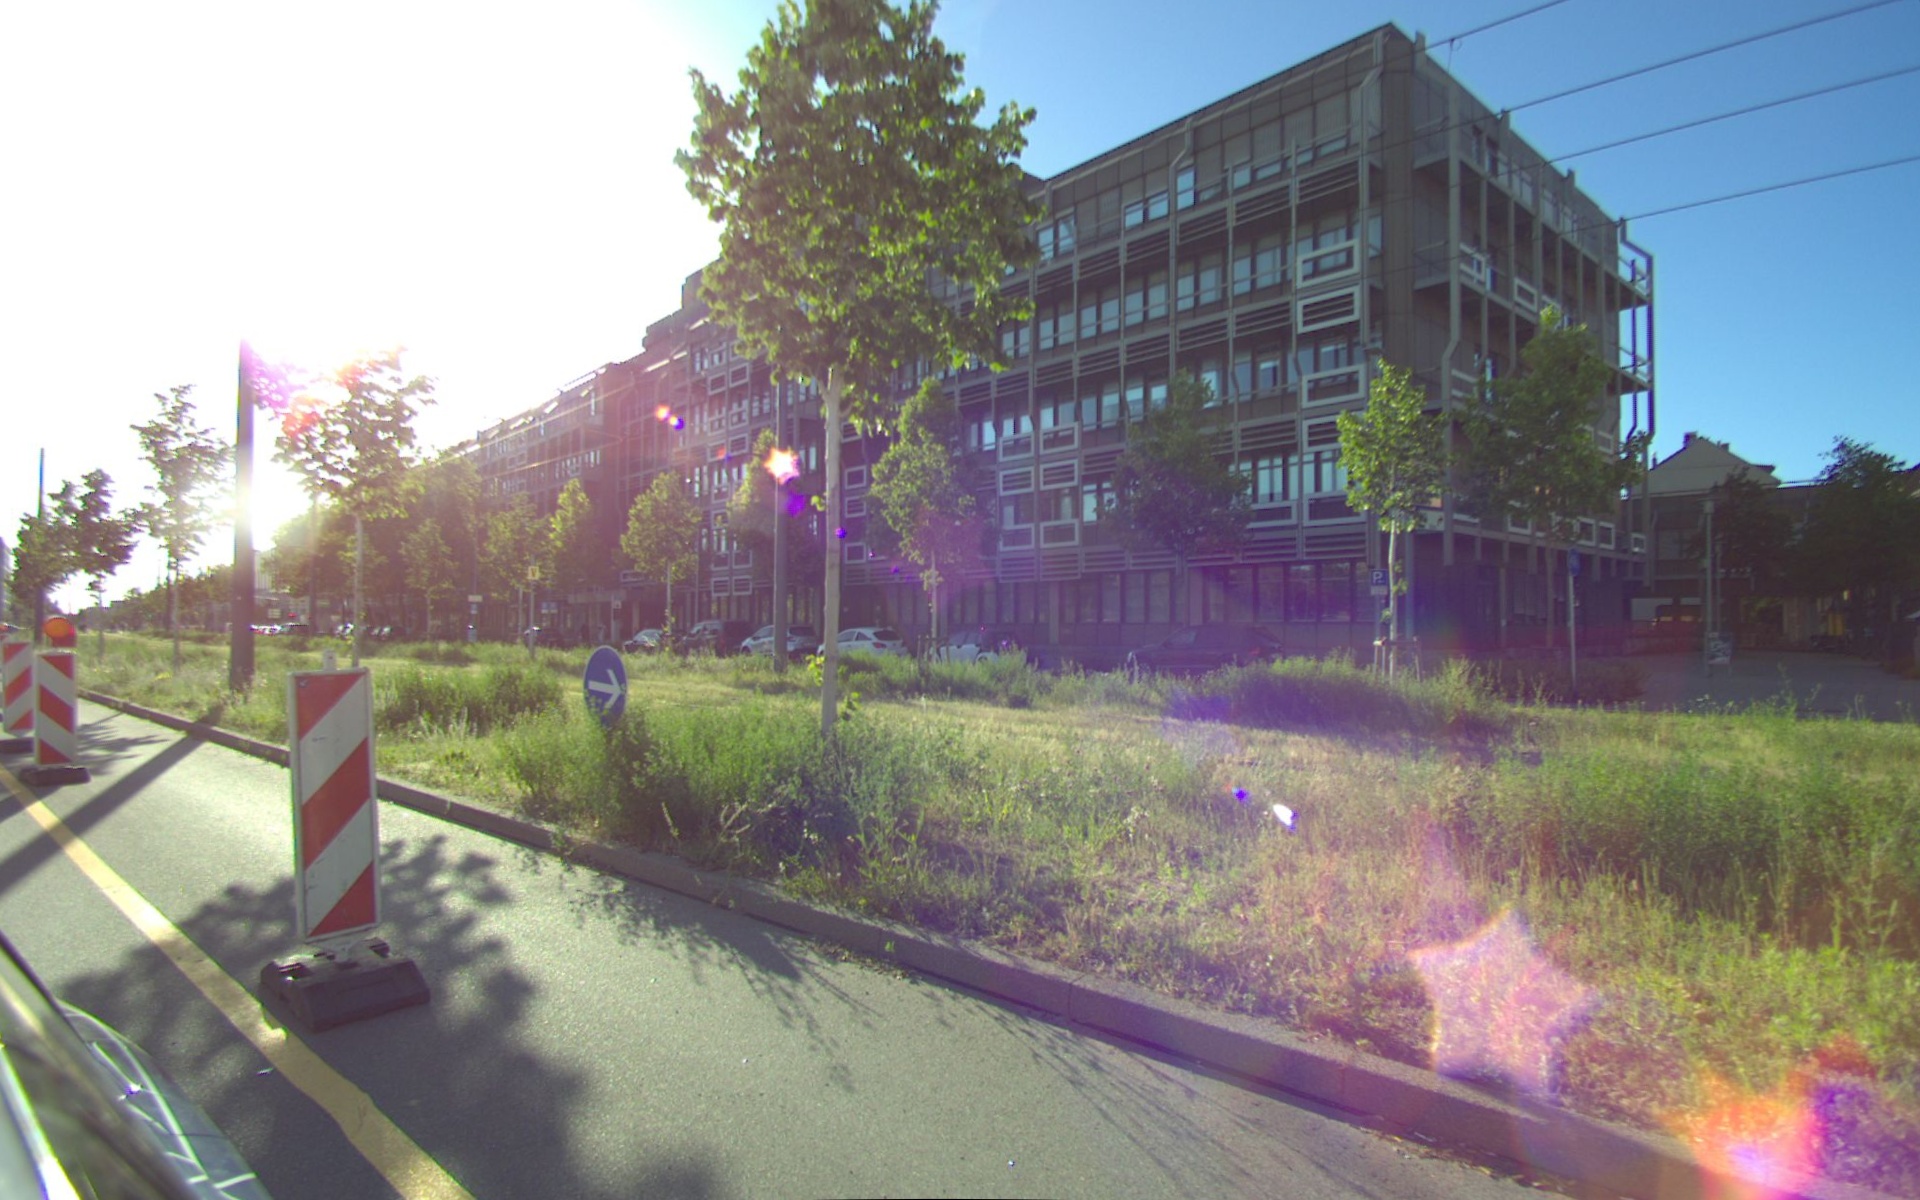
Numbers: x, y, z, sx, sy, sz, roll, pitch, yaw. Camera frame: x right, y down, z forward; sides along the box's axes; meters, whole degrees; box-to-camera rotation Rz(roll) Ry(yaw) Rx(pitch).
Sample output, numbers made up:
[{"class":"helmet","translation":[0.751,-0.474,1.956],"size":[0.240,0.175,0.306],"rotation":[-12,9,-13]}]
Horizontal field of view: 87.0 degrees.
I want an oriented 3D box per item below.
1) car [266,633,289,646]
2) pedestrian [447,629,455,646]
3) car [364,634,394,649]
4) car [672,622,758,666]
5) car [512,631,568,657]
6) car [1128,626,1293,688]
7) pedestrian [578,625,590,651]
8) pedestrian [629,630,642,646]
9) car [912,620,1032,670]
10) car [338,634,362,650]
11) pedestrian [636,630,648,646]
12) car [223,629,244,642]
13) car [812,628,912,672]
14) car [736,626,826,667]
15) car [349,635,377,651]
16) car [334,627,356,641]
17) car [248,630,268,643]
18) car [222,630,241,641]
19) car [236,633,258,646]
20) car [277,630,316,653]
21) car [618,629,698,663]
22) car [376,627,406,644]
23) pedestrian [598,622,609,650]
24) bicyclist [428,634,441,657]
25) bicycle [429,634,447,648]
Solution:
[{"class":"car","translation":[-80.047,4.592,118.707],"size":[1.608,1.507,4.422],"rotation":[2,-3,-41]},{"class":"pedestrian","translation":[-51.869,3.820,103.144],"size":[0.476,1.763,0.640],"rotation":[2,-3,-41]},{"class":"car","translation":[-58.490,4.165,101.791],"size":[3.632,1.497,1.702],"rotation":[-2,-3,44]},{"class":"car","translation":[-10.762,1.903,44.298],"size":[1.730,1.785,4.335],"rotation":[0,-2,-43]},{"class":"car","translation":[-24.650,2.536,59.345],"size":[1.695,1.397,4.044],"rotation":[-2,0,-42]},{"class":"car","translation":[6.625,1.473,26.998],"size":[3.900,1.472,1.711],"rotation":[-2,-1,43]},{"class":"pedestrian","translation":[-23.387,2.360,62.912],"size":[0.514,1.590,0.537],"rotation":[2,-3,-40]},{"class":"pedestrian","translation":[-20.879,2.450,65.107],"size":[0.609,0.993,0.499],"rotation":[2,-3,-41]},{"class":"car","translation":[0.340,1.444,33.219],"size":[1.629,1.566,3.970],"rotation":[1,-2,-43]},{"class":"car","translation":[-65.984,4.499,109.421],"size":[1.489,1.614,3.530],"rotation":[-1,-1,-44]},{"class":"pedestrian","translation":[-20.198,2.426,64.310],"size":[0.609,0.993,0.499],"rotation":[2,-3,-41]},{"class":"car","translation":[-94.854,4.582,132.080],"size":[1.838,1.694,3.784],"rotation":[2,-3,-42]},{"class":"car","translation":[-3.619,1.784,36.775],"size":[1.605,1.452,3.822],"rotation":[0,-1,-43]},{"class":"car","translation":[-7.215,1.848,40.622],"size":[1.717,1.548,3.888],"rotation":[0,-2,-43]},{"class":"car","translation":[-62.428,4.487,105.797],"size":[1.702,1.614,3.634],"rotation":[-1,-2,-44]},{"class":"car","translation":[-69.530,3.844,114.402],"size":[1.370,1.614,3.269],"rotation":[-1,-1,-44]},{"class":"car","translation":[-85.618,4.473,123.397],"size":[1.608,1.507,3.784],"rotation":[2,-3,-41]},{"class":"car","translation":[-90.146,4.399,125.282],"size":[1.532,1.390,3.784],"rotation":[2,-3,-41]},{"class":"car","translation":[-82.355,4.585,116.862],"size":[1.608,1.507,3.784],"rotation":[2,-3,-41]},{"class":"car","translation":[-50.943,3.175,77.678],"size":[4.123,1.760,1.708],"rotation":[-2,-2,45]},{"class":"car","translation":[-14.411,2.180,48.147],"size":[1.709,1.480,4.507],"rotation":[-1,-1,-44]},{"class":"car","translation":[-54.742,3.407,97.333],"size":[1.702,1.555,3.634],"rotation":[-1,-1,-44]},{"class":"pedestrian","translation":[-22.422,2.281,63.632],"size":[0.514,1.735,0.537],"rotation":[2,-3,-40]},{"class":"bicyclist","translation":[-34.440,2.964,66.315],"size":[0.558,1.468,0.706],"rotation":[3,-4,-44]},{"class":"bicycle","translation":[-33.989,2.661,65.868],"size":[0.558,0.884,1.772],"rotation":[3,-4,-44]}]
